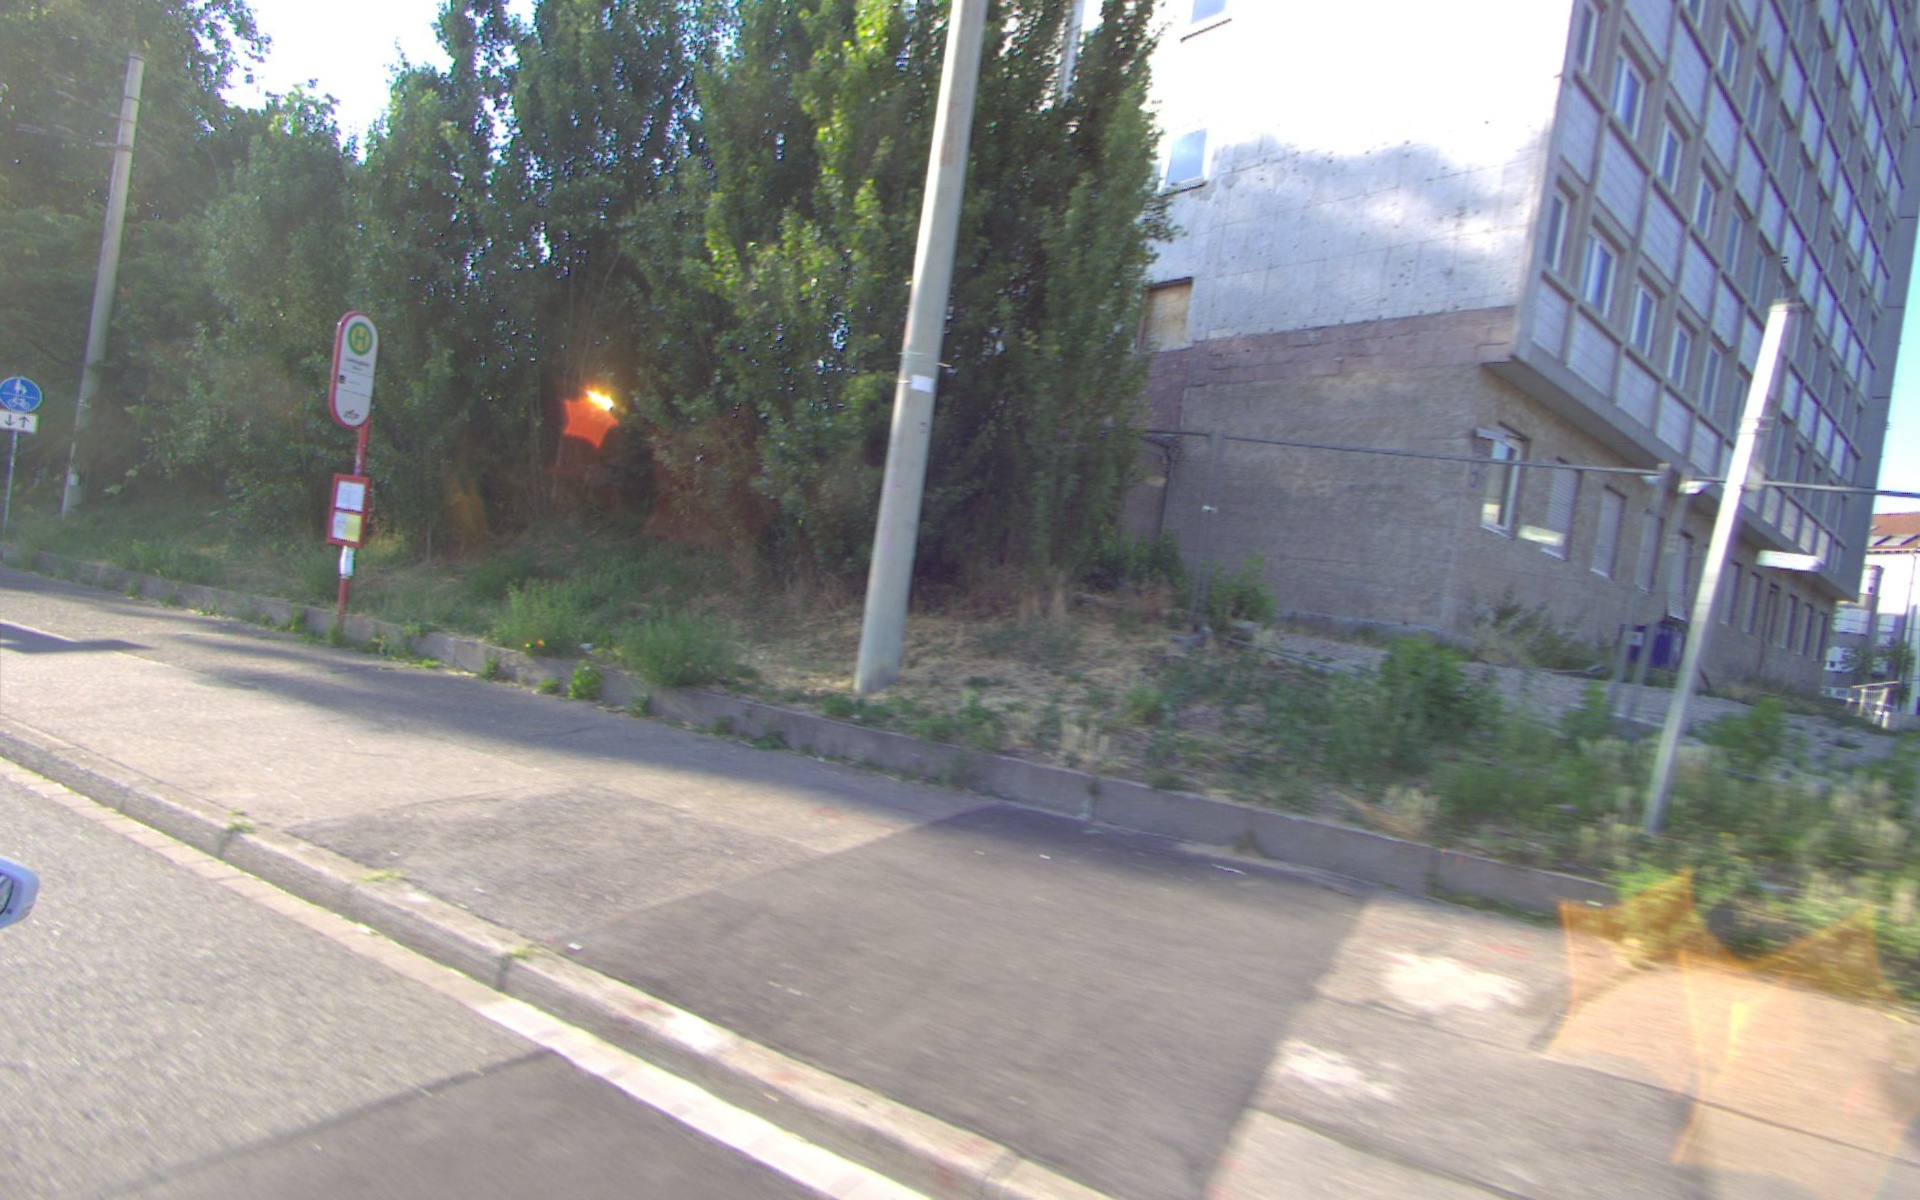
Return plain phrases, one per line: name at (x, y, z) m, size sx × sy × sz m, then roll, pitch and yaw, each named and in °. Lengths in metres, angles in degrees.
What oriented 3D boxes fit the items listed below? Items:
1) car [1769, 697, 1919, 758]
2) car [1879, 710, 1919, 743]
car at (31.693, 4.510, 35.870) m, size 1.677 × 1.468 × 4.326 m, roll 7°, pitch 0°, yaw -8°
car at (50.928, 6.835, 52.431) m, size 1.677 × 1.468 × 4.326 m, roll 7°, pitch 0°, yaw -7°
